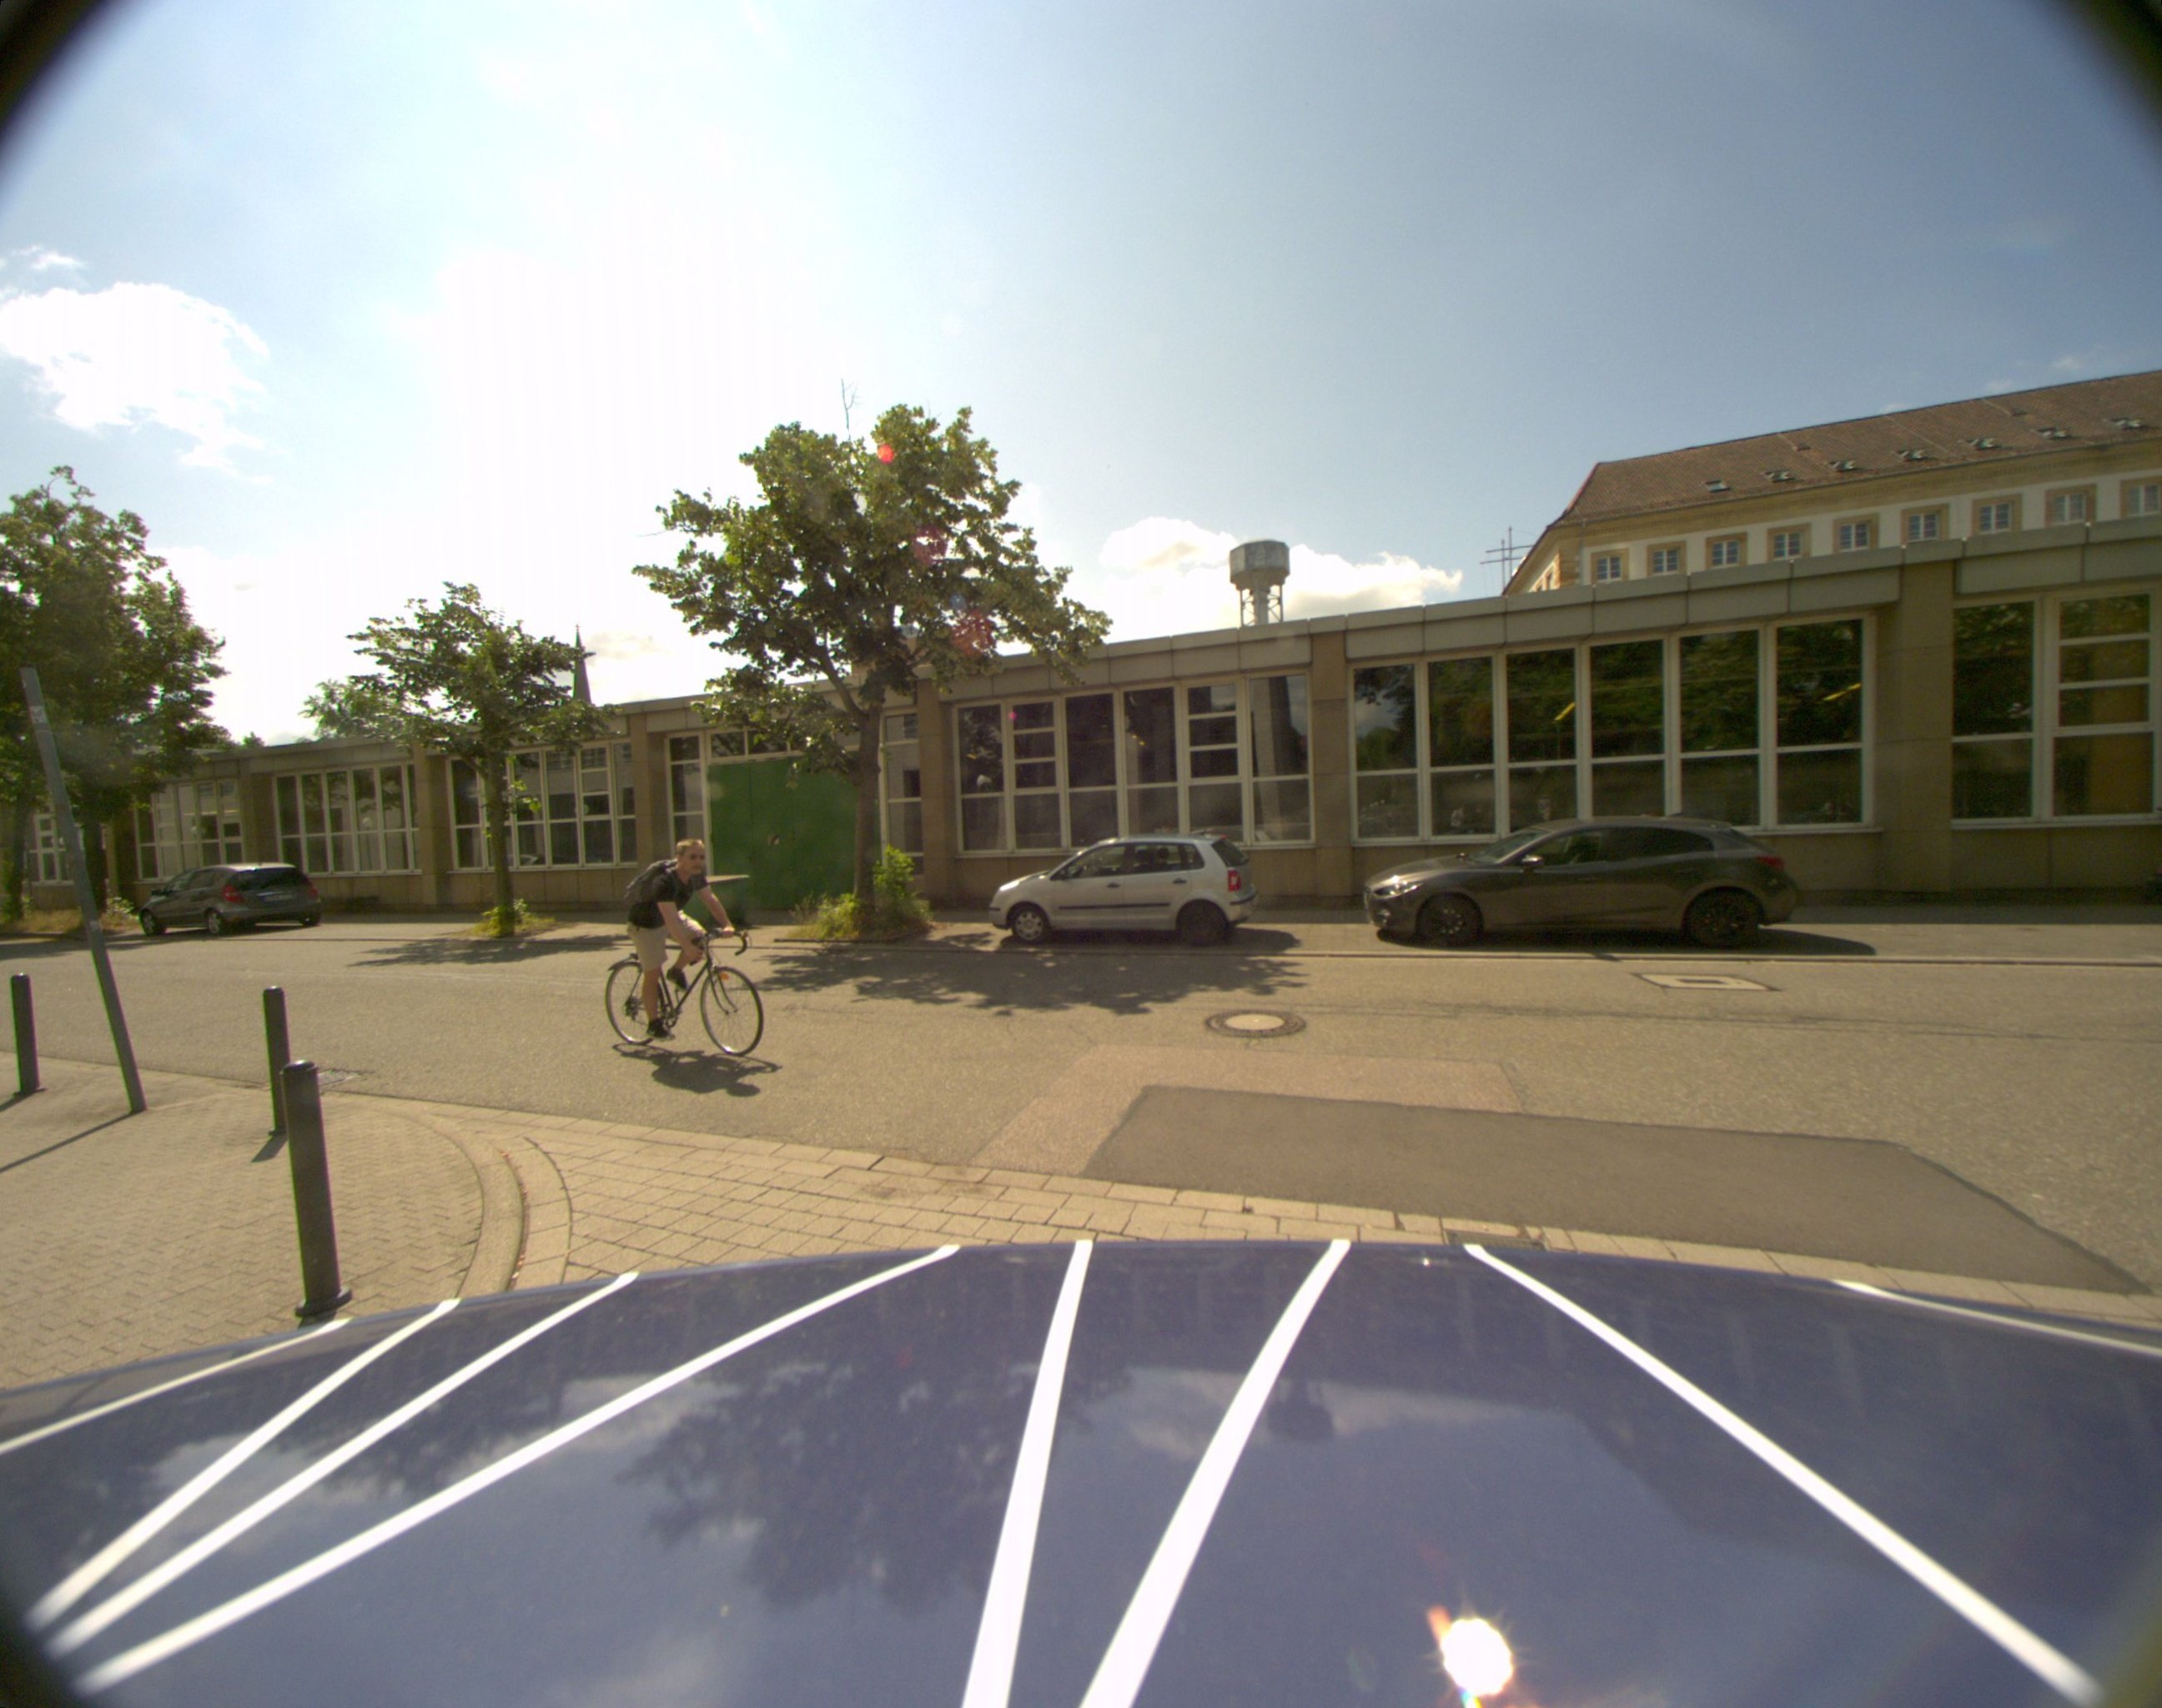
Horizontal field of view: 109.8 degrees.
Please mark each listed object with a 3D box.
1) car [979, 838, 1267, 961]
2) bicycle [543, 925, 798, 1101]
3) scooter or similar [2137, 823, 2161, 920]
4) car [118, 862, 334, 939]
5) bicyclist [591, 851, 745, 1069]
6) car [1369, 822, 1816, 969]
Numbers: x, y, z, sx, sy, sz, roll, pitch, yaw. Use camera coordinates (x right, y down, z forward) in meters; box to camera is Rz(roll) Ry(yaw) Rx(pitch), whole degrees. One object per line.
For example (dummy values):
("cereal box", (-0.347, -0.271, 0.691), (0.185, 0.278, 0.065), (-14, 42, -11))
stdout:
("car", (0.646, 0.597, 10.959), (3.771, 1.468, 1.655), (-1, 4, 19))
("bicycle", (-3.157, 1.155, 5.842), (1.826, 1.102, 0.605), (-1, 4, 21))
("scooter or similar", (14.048, 0.207, 9.406), (1.156, 1.219, 0.290), (-1, 2, 22))
("car", (-20.480, 1.079, 18.240), (4.125, 1.569, 1.853), (-1, 3, 18))
("bicyclist", (-3.135, 0.764, 5.809), (0.726, 1.527, 0.605), (-1, 4, 21))
("car", (5.798, 0.465, 9.241), (4.203, 1.468, 1.655), (-2, 3, 19))
